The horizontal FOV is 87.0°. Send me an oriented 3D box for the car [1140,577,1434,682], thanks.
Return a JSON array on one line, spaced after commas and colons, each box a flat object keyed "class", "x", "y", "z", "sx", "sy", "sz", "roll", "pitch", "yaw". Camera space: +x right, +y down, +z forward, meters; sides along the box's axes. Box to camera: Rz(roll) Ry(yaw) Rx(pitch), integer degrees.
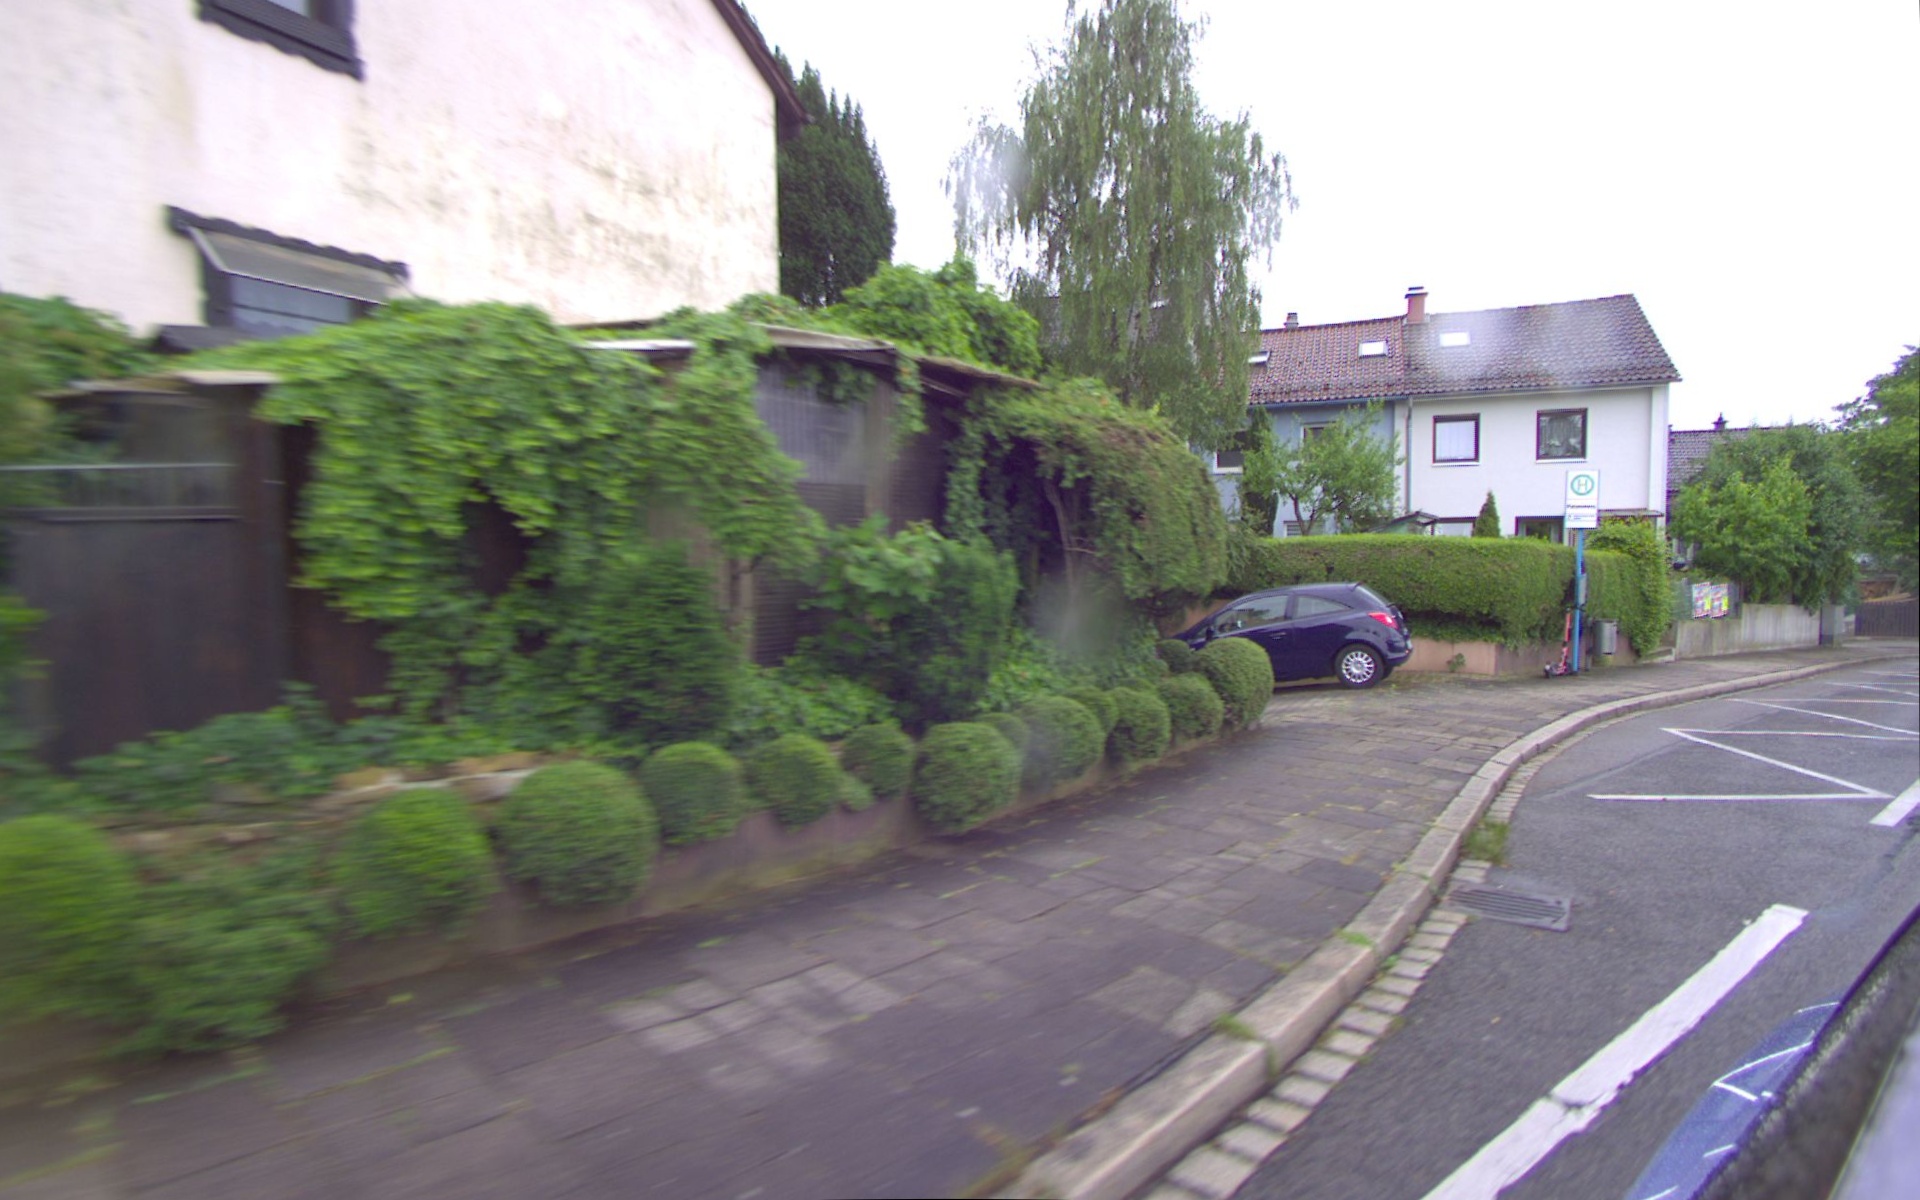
[{"class": "car", "x": 4.621, "y": 0.425, "z": 14.383, "sx": 3.675, "sy": 1.314, "sz": 1.754, "roll": -3, "pitch": 0, "yaw": 30}]
